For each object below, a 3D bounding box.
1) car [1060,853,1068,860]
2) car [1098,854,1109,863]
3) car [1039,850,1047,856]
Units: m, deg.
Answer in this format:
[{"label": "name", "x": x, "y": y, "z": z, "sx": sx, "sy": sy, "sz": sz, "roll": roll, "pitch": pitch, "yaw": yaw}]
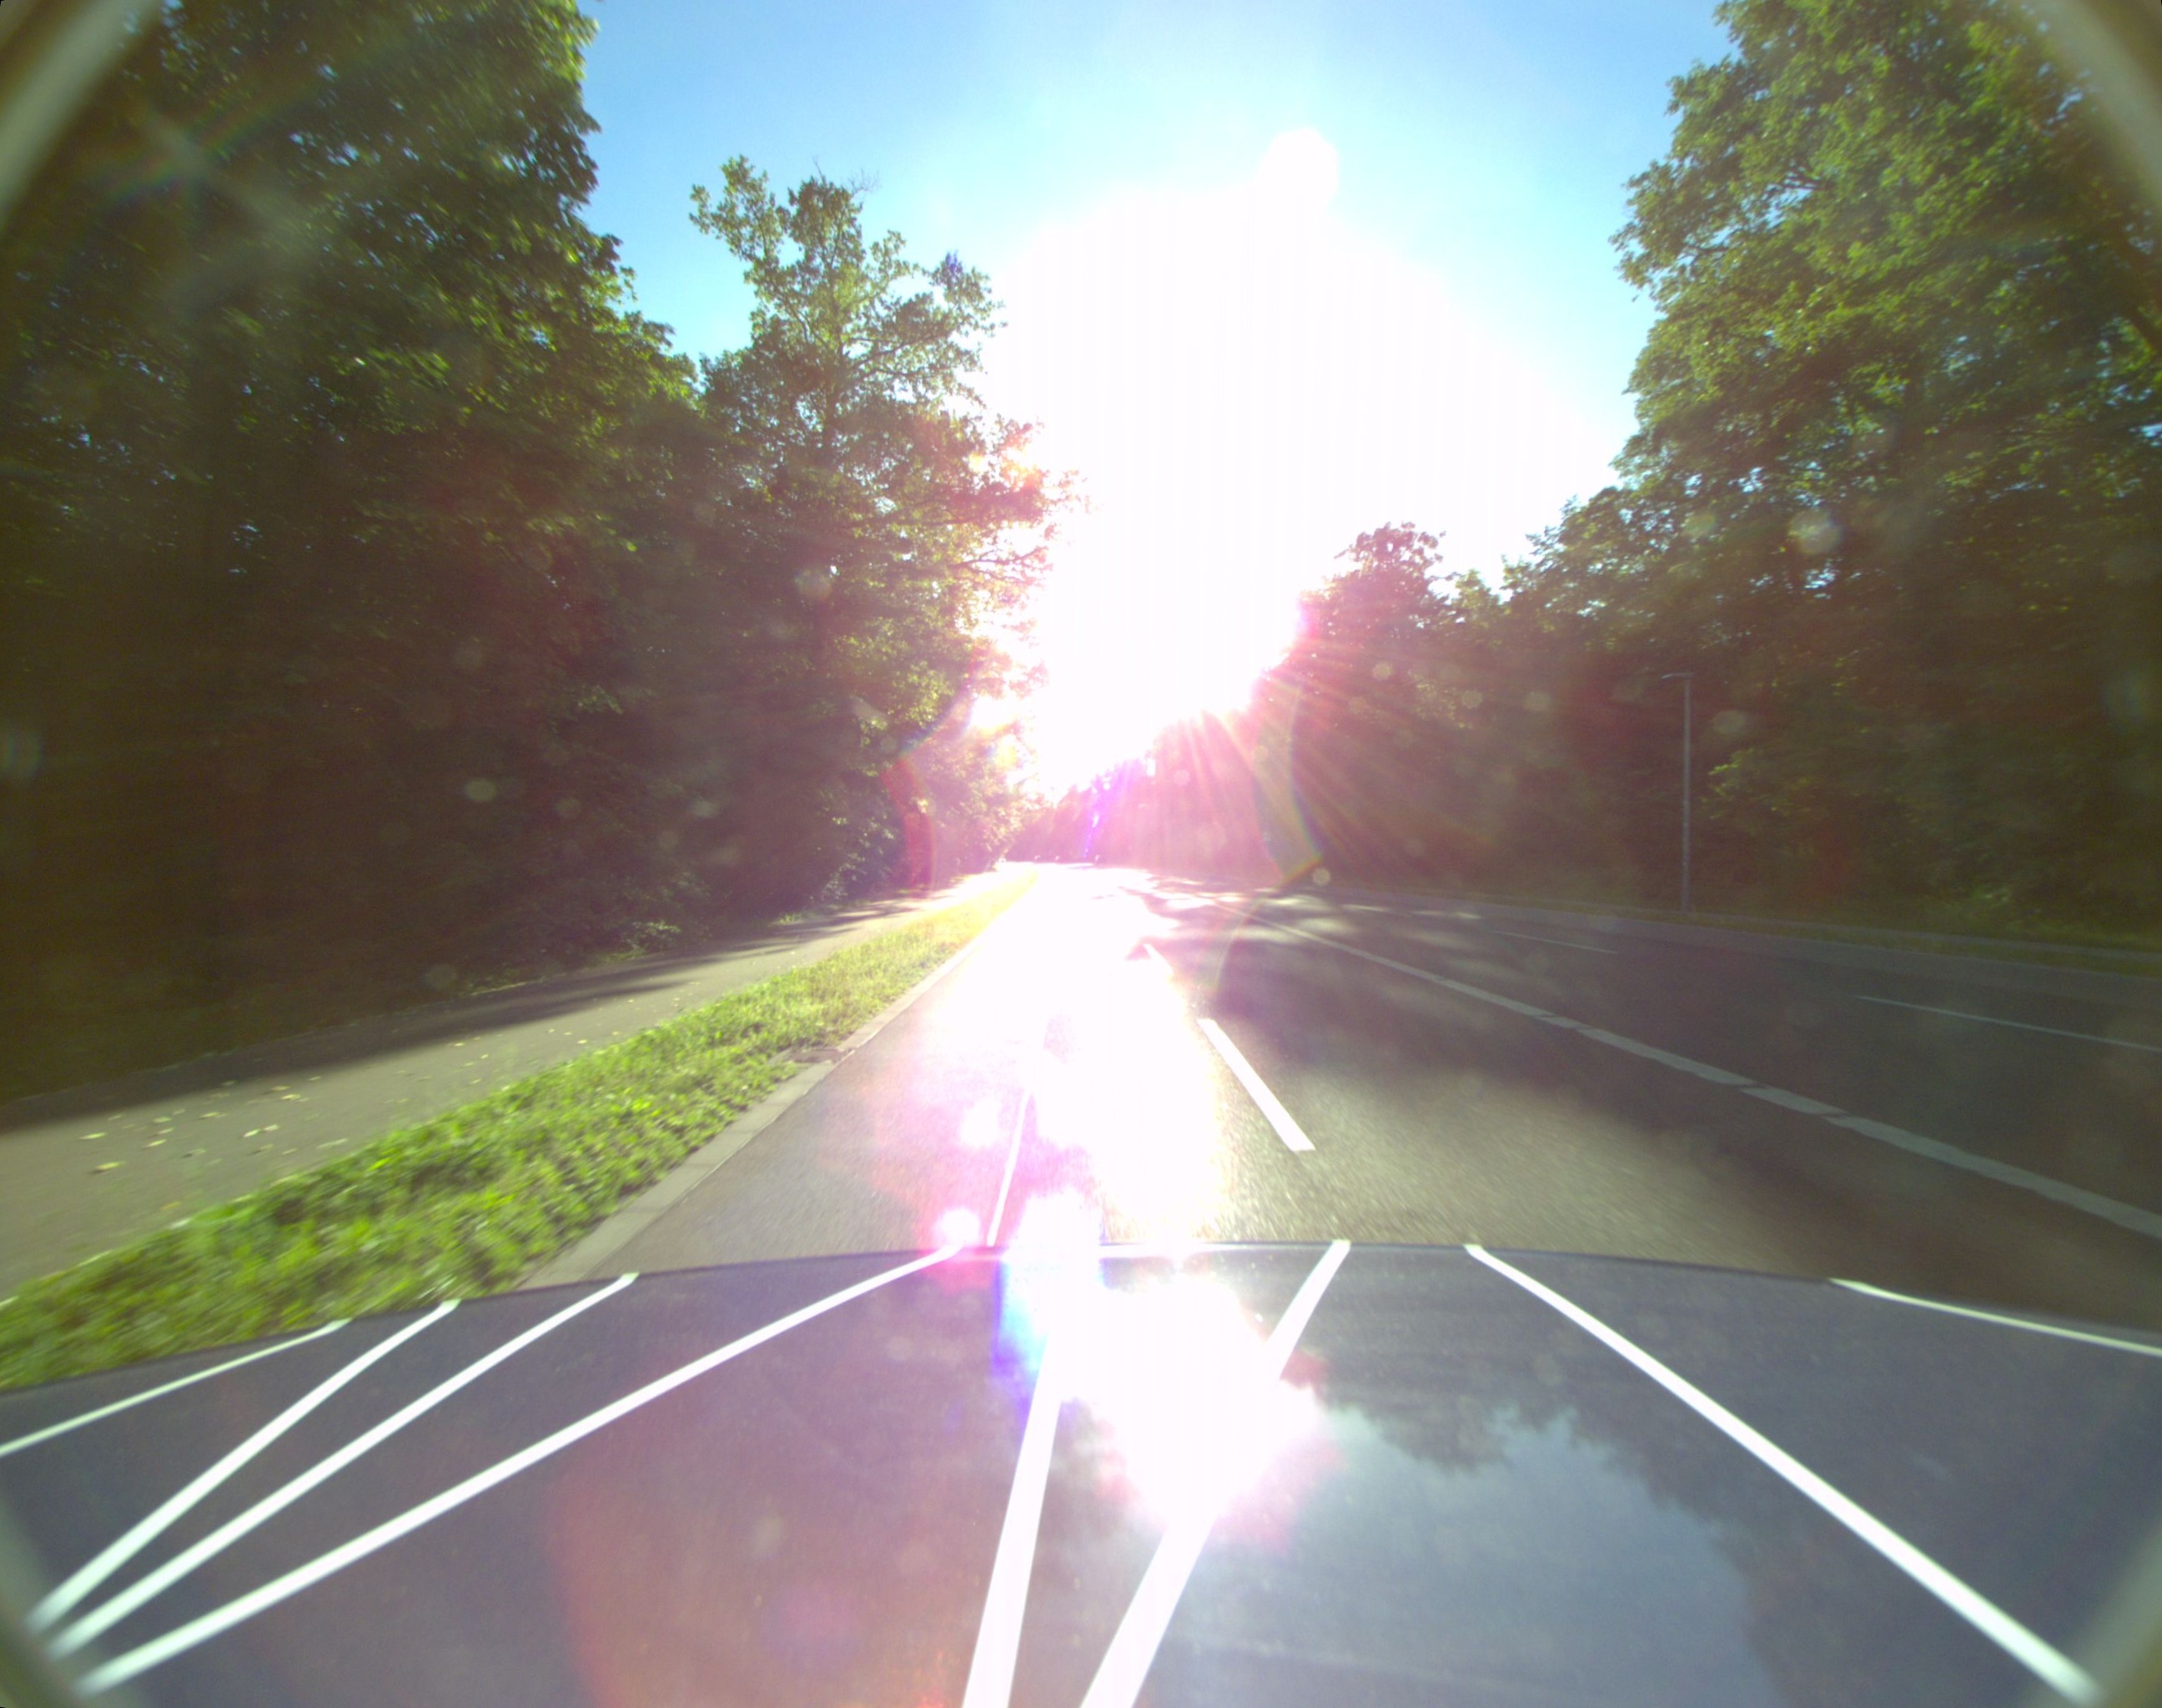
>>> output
[{"label": "car", "x": -4.115, "y": 0.610, "z": 181.153, "sx": 1.715, "sy": 1.415, "sz": 4.128, "roll": -1, "pitch": 0, "yaw": -4}, {"label": "car", "x": 3.613, "y": 0.723, "z": 121.684, "sx": 1.499, "sy": 1.436, "sz": 3.499, "roll": -2, "pitch": 0, "yaw": -3}, {"label": "car", "x": -11.011, "y": -0.170, "z": 219.961, "sx": 1.813, "sy": 1.653, "sz": 4.518, "roll": -1, "pitch": 0, "yaw": -9}]
